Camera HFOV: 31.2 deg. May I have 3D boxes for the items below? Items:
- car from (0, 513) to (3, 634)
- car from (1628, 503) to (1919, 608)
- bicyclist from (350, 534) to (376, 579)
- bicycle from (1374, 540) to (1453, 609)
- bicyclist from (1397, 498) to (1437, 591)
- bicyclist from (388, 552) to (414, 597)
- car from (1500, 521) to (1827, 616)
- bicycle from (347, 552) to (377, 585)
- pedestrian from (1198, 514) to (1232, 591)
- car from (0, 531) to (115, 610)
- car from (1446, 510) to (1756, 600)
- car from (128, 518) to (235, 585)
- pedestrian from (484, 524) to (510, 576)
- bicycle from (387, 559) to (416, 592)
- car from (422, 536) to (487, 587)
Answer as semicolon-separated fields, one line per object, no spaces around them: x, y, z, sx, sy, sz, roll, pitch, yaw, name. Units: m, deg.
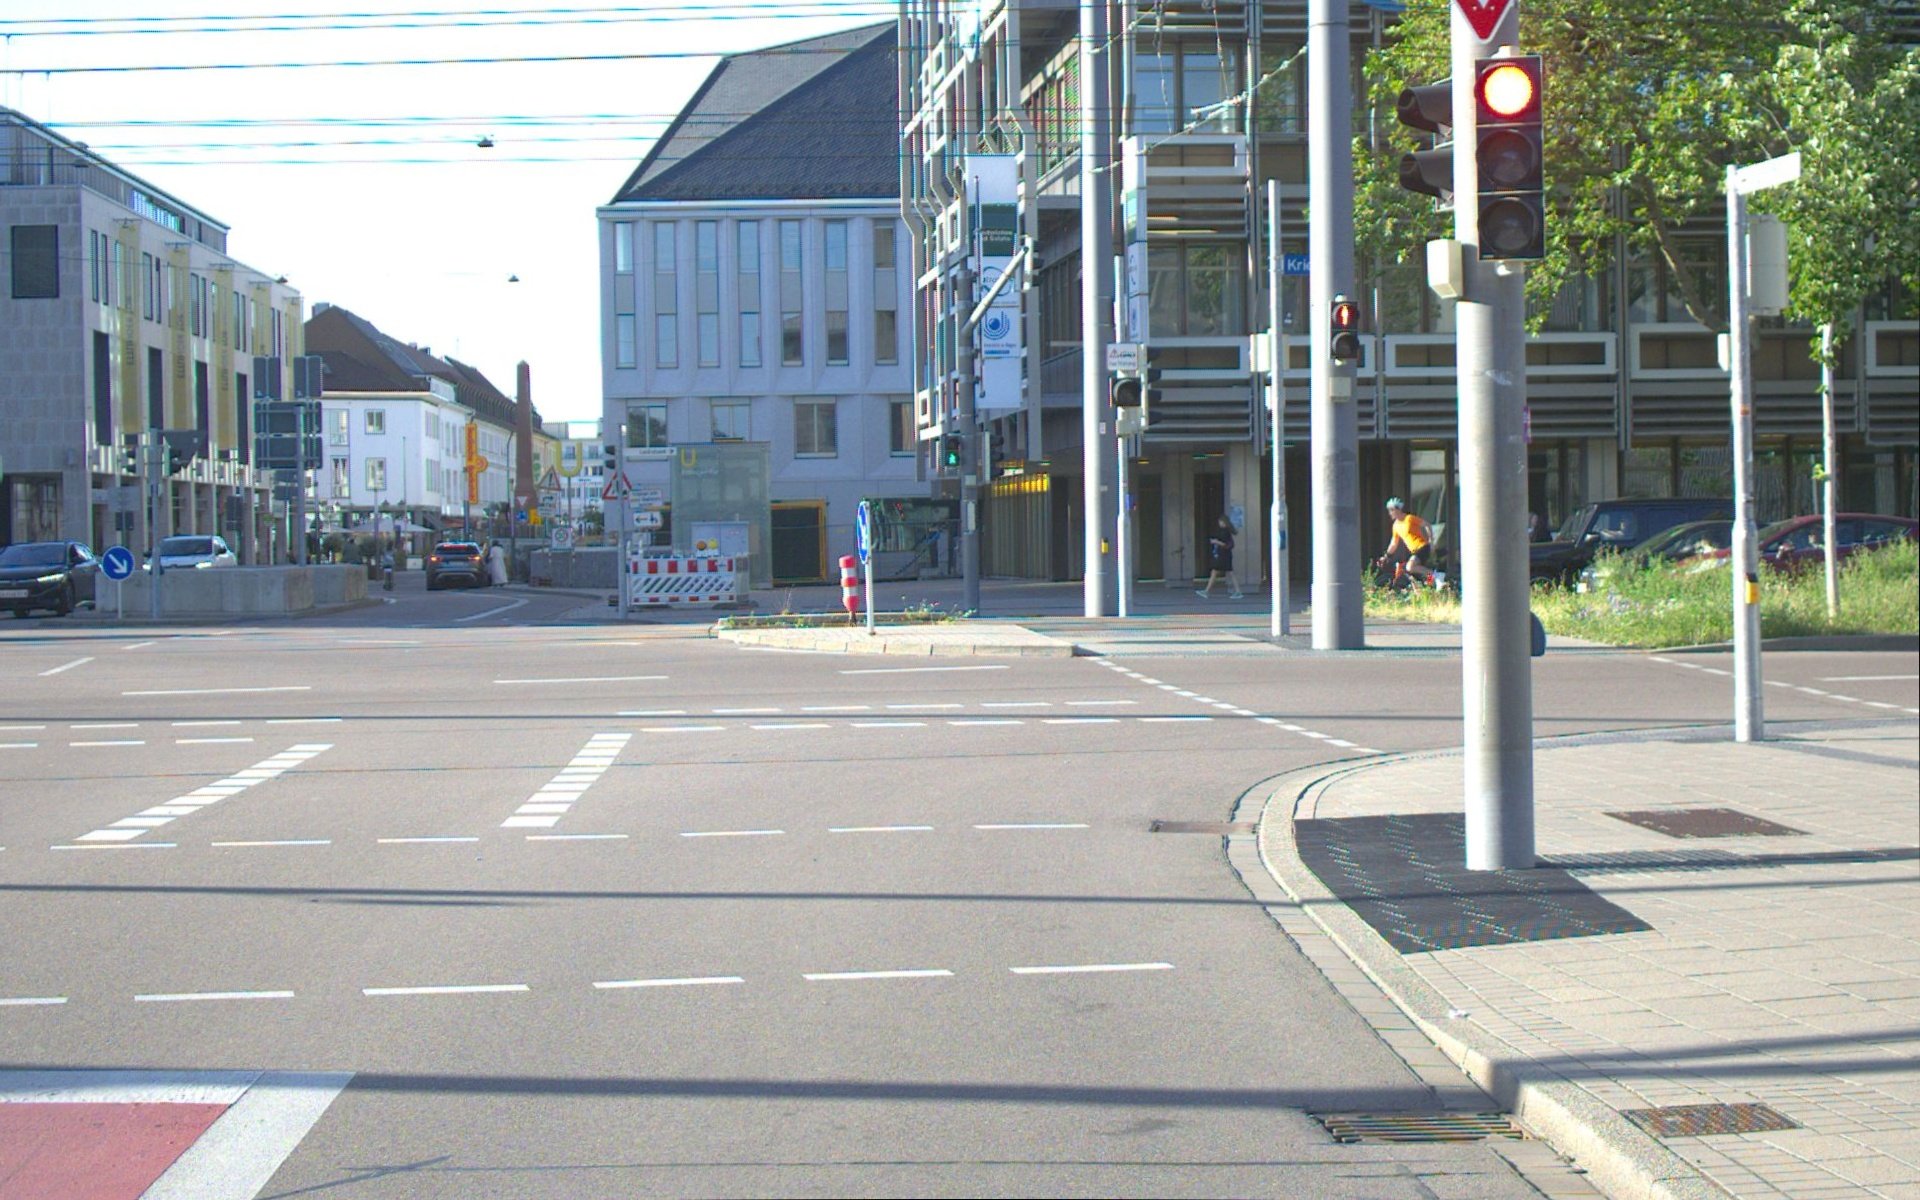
-13.505;-0.520;43.853;1.993;1.736;4.648;-2;3;-21;car
12.062;-0.654;48.921;4.630;1.351;2.001;-1;3;-5;car
-19.683;-1.435;113.325;0.746;1.456;0.767;-1;1;-4;bicyclist
6.567;-0.368;49.798;1.076;0.967;0.458;-1;1;1;bicycle
6.613;-0.804;49.792;0.508;1.333;0.452;-1;1;1;bicyclist
-18.557;-0.841;114.123;0.746;1.456;0.767;-1;1;-4;bicyclist
10.983;-0.511;53.849;4.630;1.351;2.001;-1;3;-5;car
-19.726;-1.040;113.418;0.741;1.042;2.432;-1;2;-5;bicycle
5.097;-0.957;68.630;0.623;1.513;0.653;-1;1;7;pedestrian
-18.765;-0.626;70.117;1.993;1.524;4.036;-1;2;1;car
10.507;-0.760;56.535;4.630;1.351;2.001;-1;3;-5;car
-19.479;-1.237;86.182;1.993;1.617;4.239;-1;2;-4;car
-14.909;-1.607;110.758;0.714;1.662;0.987;-1;1;-4;pedestrian
-18.516;-0.827;113.987;0.741;1.042;2.432;-1;2;-5;bicycle
-16.266;-1.258;110.822;1.993;1.546;4.001;-1;2;-8;car
